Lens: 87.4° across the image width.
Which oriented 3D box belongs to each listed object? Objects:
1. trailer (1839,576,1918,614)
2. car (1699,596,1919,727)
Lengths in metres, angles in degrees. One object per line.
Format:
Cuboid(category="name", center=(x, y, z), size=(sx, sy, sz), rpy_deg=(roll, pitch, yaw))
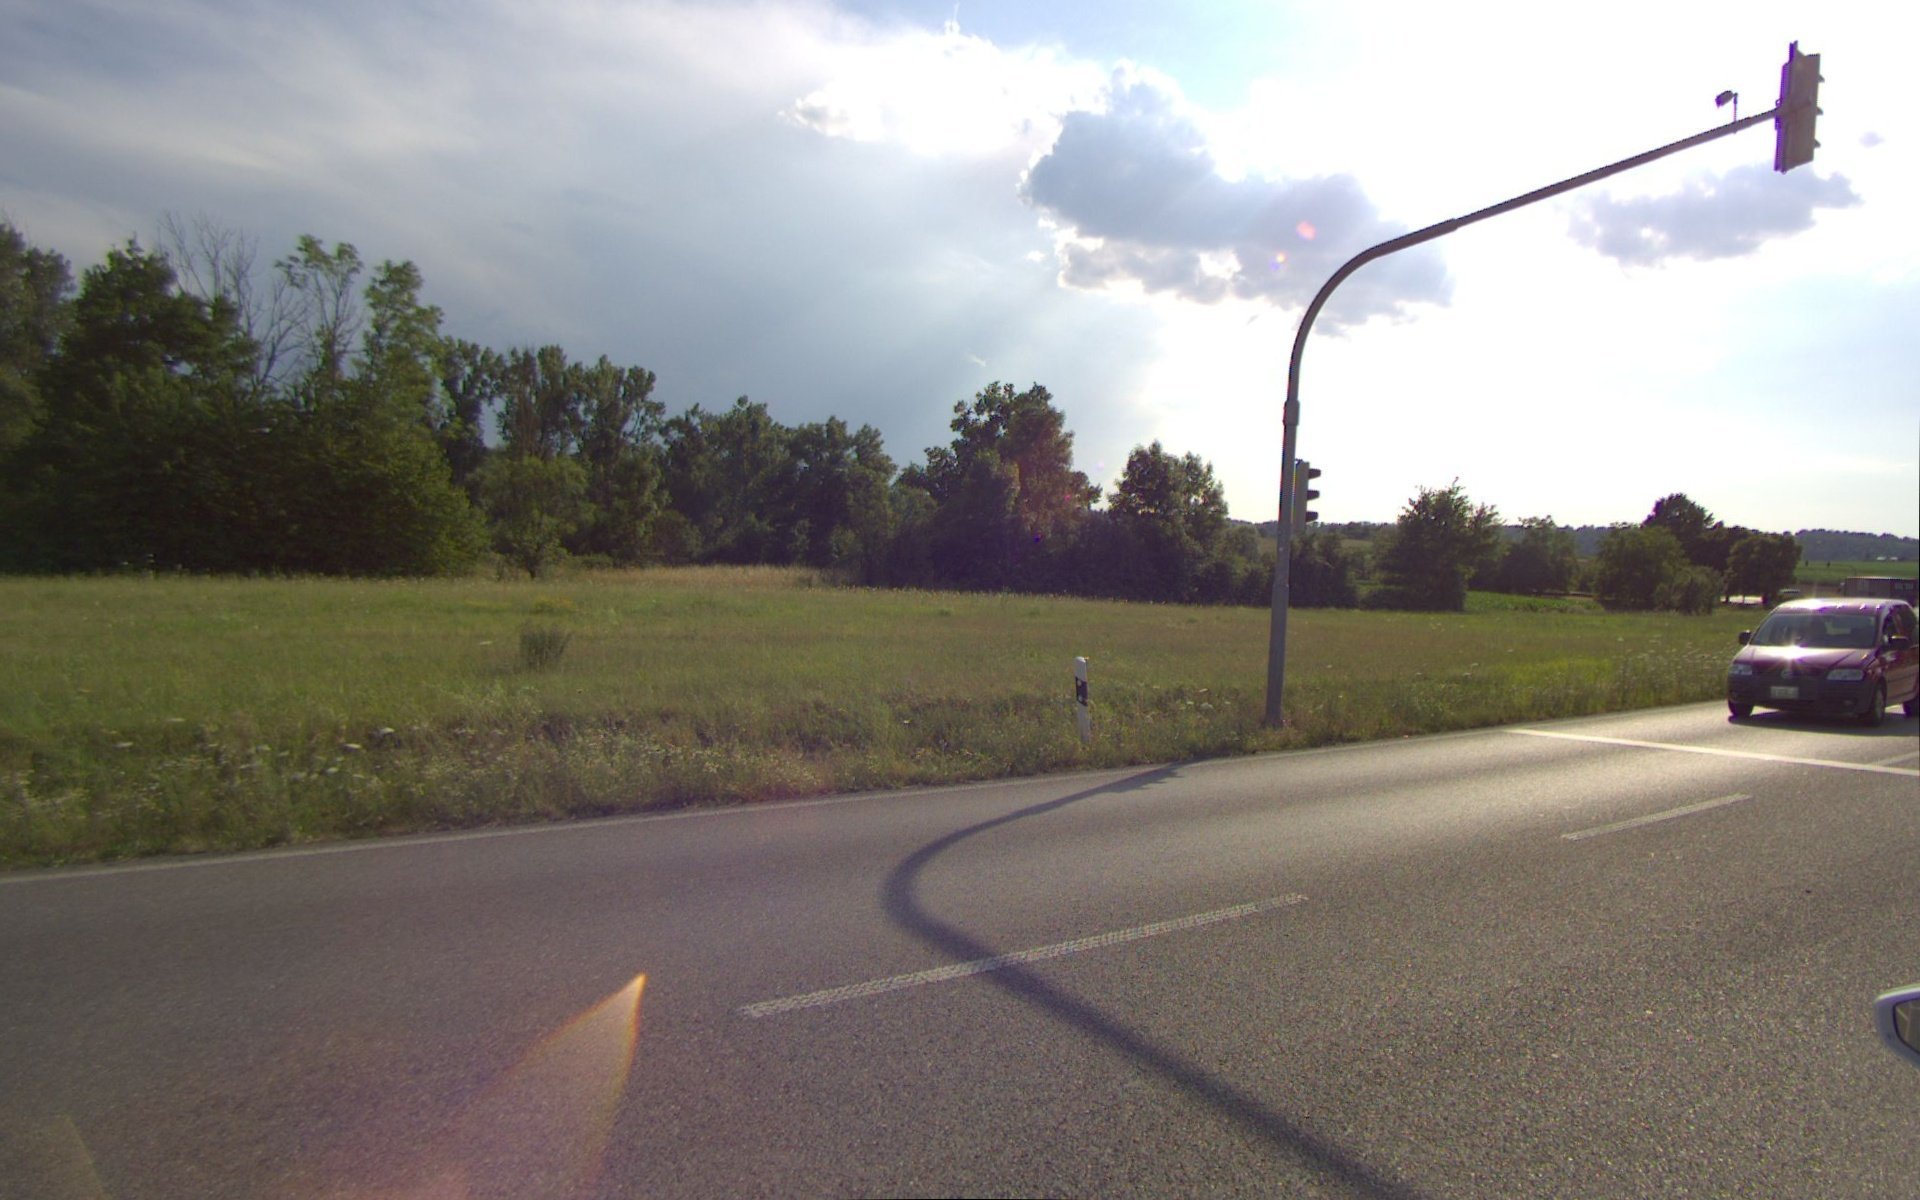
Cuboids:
Cuboid(category="trailer", center=(116.617, -0.679, 127.881), size=(3.323, 4.409, 14.276), rpy_deg=(3, 2, 26))
Cuboid(category="car", center=(13.484, 0.864, 15.767), size=(4.280, 1.799, 1.867), rpy_deg=(1, 0, -36))
